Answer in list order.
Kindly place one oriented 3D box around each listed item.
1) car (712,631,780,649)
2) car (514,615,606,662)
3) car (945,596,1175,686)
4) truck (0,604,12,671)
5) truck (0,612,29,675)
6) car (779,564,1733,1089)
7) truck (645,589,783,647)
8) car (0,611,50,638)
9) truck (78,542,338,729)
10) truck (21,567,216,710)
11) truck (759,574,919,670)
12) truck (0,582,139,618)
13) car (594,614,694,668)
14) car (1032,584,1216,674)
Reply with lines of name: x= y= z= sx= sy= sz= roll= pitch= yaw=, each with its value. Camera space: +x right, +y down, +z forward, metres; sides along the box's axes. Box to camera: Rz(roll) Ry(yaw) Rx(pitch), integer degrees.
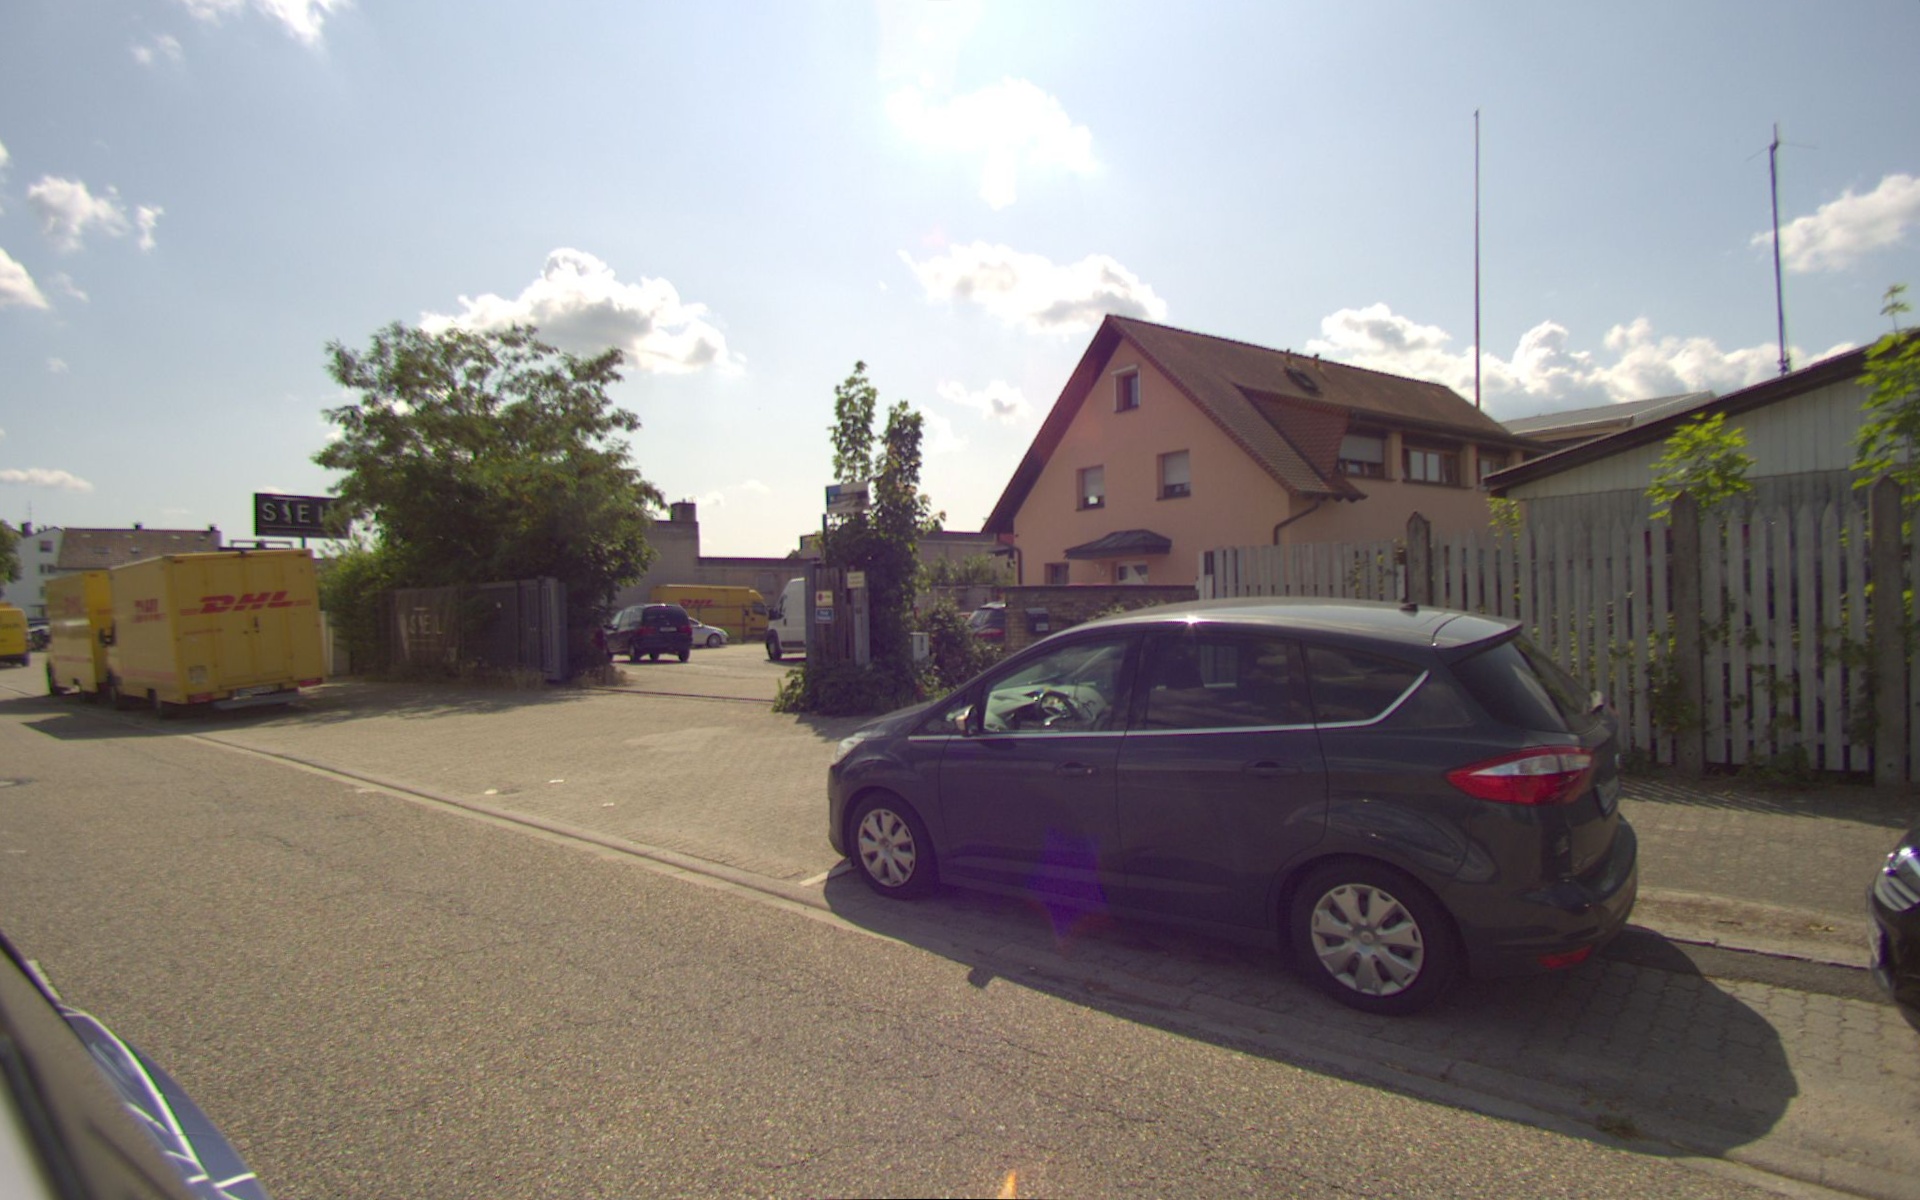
car: x=-9.924 y=1.840 z=47.043 sx=3.015 sy=0.727 sz=1.010 roll=0 pitch=-2 yaw=-41
car: x=-12.179 y=1.185 z=30.668 sx=1.785 sy=1.315 sz=3.878 roll=0 pitch=-3 yaw=-34
car: x=1.921 y=0.763 z=19.565 sx=3.930 sy=1.527 sz=1.901 roll=-1 pitch=-2 yaw=-23
truck: x=-44.884 y=1.757 z=45.861 sx=7.068 sy=2.878 sz=2.197 roll=-2 pitch=0 yaw=43
truck: x=-39.602 y=1.787 z=41.144 sx=6.063 sy=2.431 sz=1.972 roll=-2 pitch=1 yaw=42
car: x=1.207 y=0.756 z=5.271 sx=4.409 sy=1.616 sz=1.708 roll=-2 pitch=2 yaw=39
truck: x=-12.372 y=0.872 z=51.139 sx=6.332 sy=2.786 sz=2.330 roll=0 pitch=-1 yaw=-36
car: x=-84.594 y=2.181 z=90.268 sx=4.935 sy=2.248 sz=2.005 roll=-1 pitch=0 yaw=-36
truck: x=-14.176 y=0.594 z=18.830 sx=7.100 sy=2.884 sz=2.292 roll=-2 pitch=1 yaw=41
truck: x=-19.744 y=0.877 z=23.570 sx=7.169 sy=2.876 sz=2.246 roll=-3 pitch=0 yaw=40
truck: x=-3.665 y=0.642 z=29.392 sx=2.082 sy=2.507 sz=5.734 roll=-1 pitch=-1 yaw=-35
truck: x=-75.721 y=0.015 z=85.933 sx=9.152 sy=2.878 sz=2.722 roll=0 pitch=-2 yaw=-45
car: x=-9.777 y=1.238 z=31.117 sx=1.742 sy=1.524 sz=3.926 roll=-1 pitch=-1 yaw=-36
car: x=3.817 y=0.628 z=23.531 sx=3.931 sy=1.913 sz=1.744 roll=-1 pitch=-1 yaw=-28
